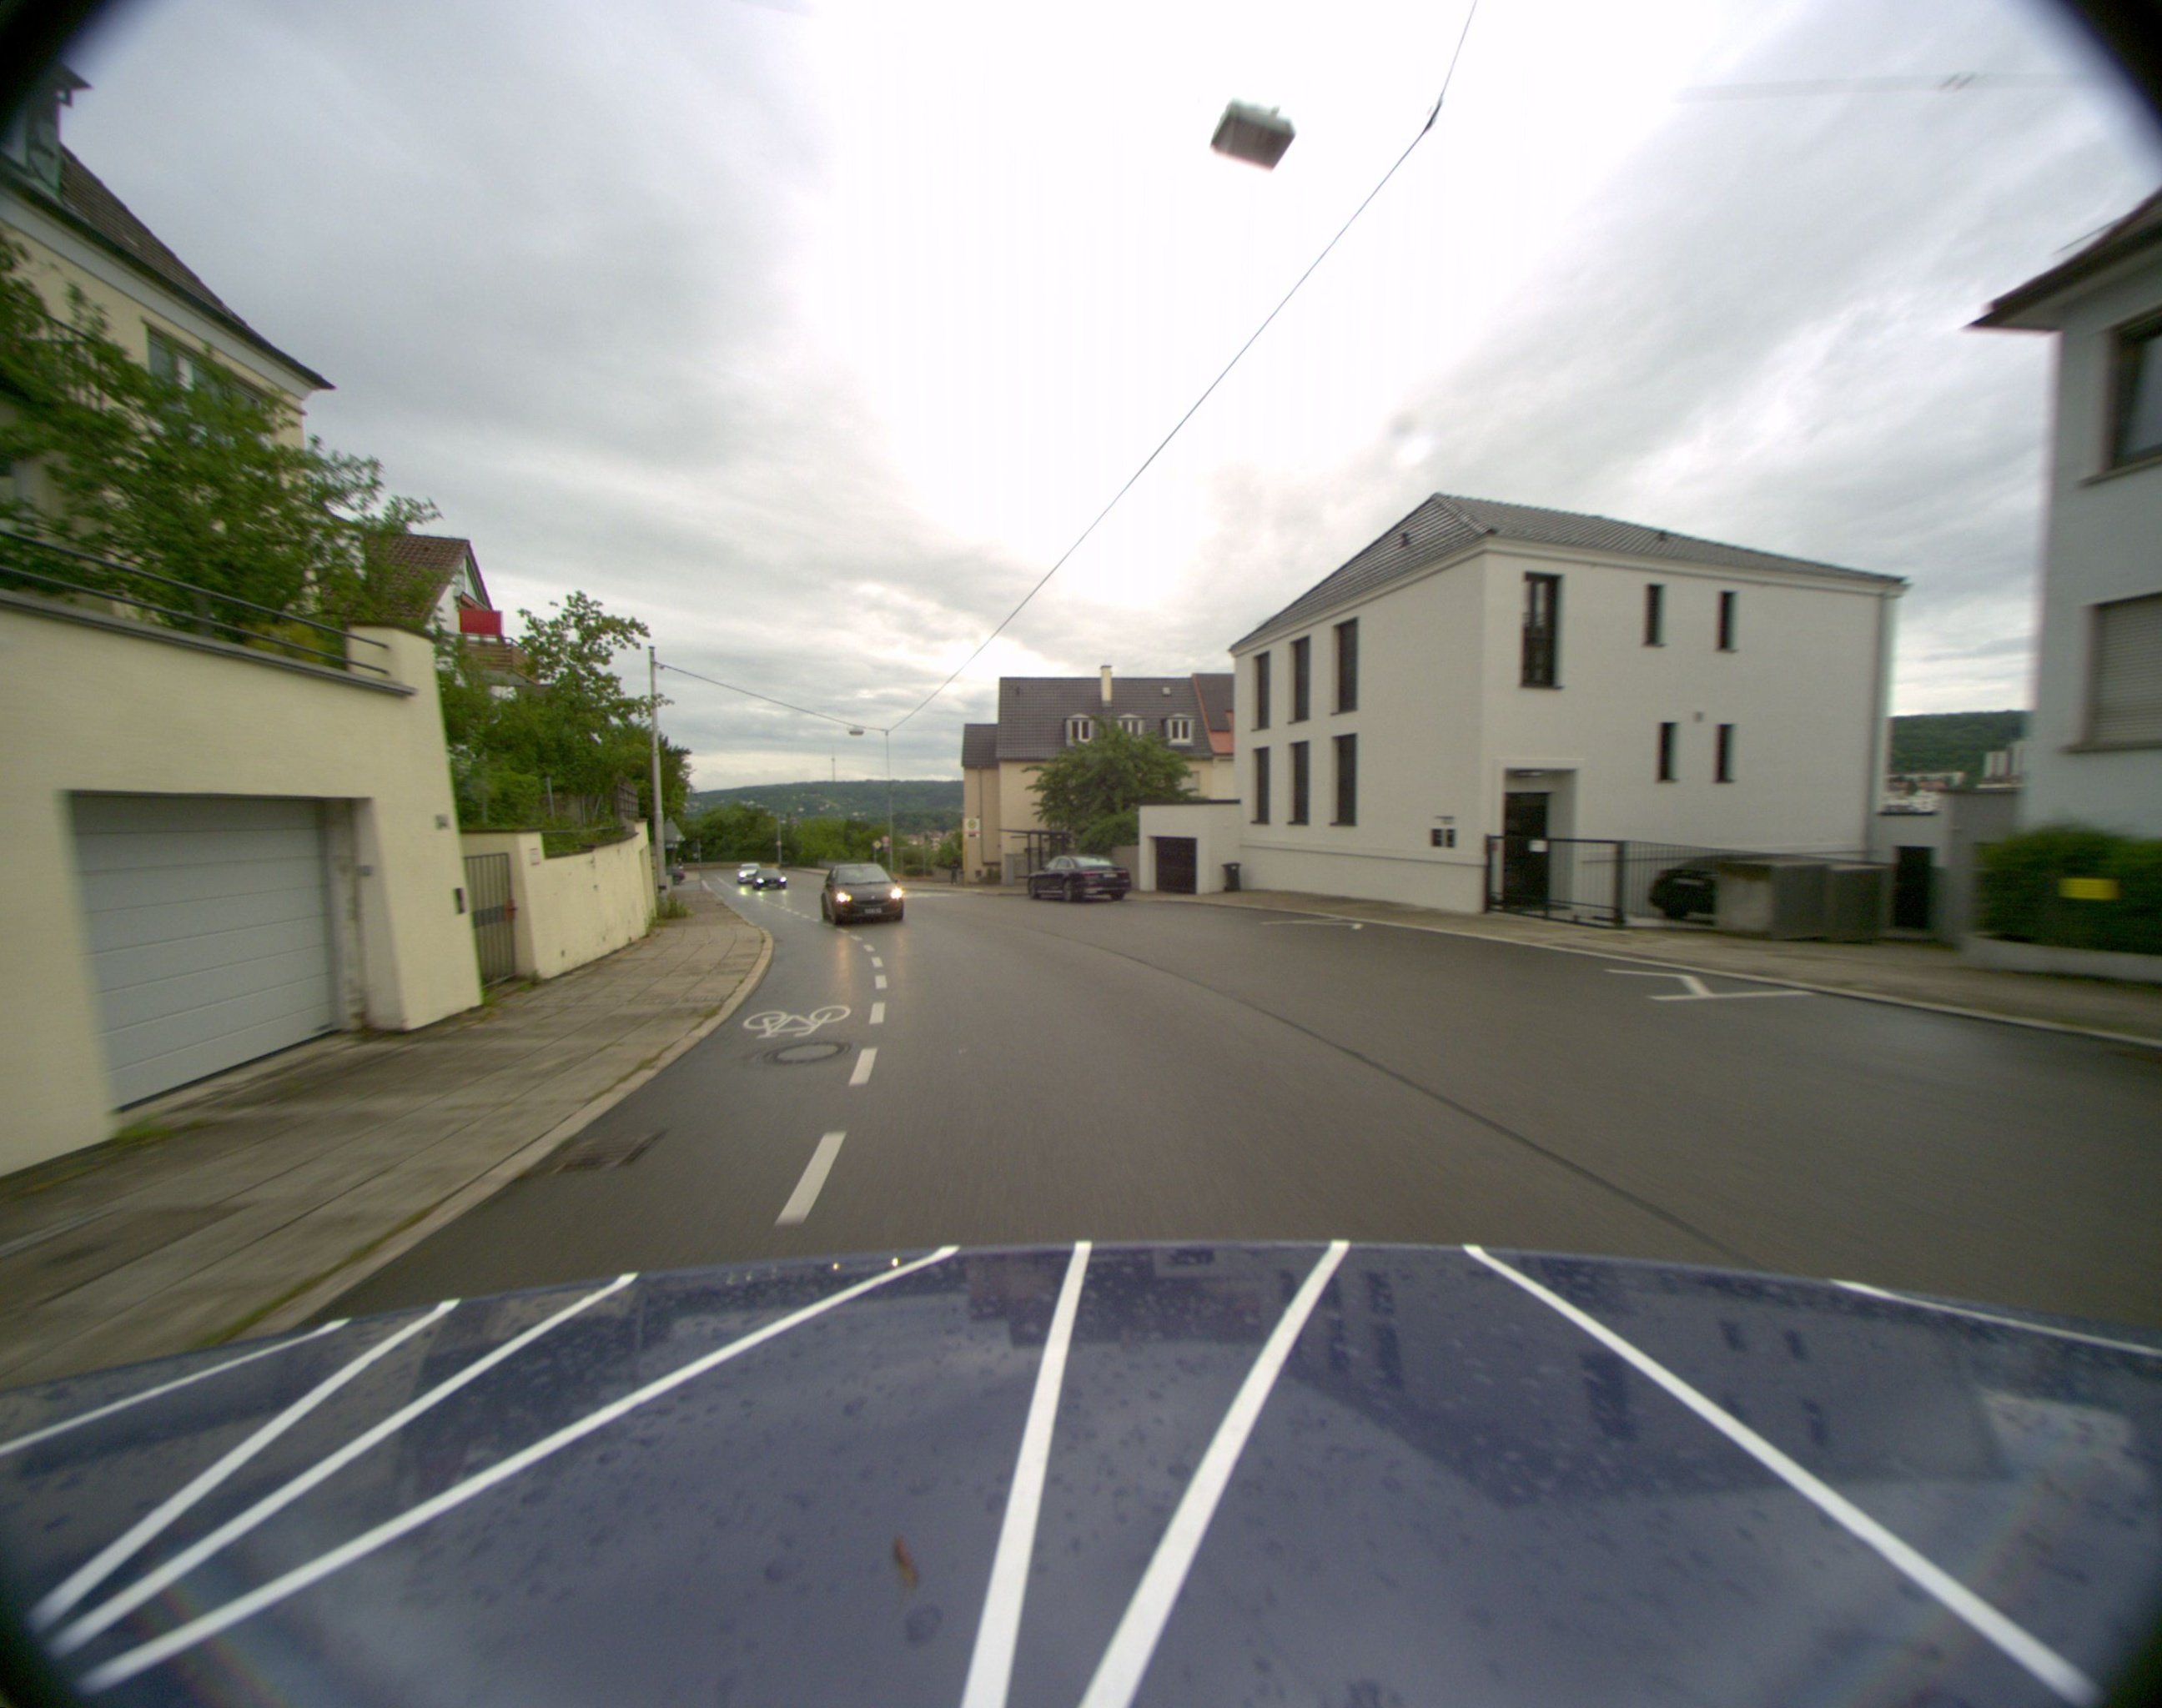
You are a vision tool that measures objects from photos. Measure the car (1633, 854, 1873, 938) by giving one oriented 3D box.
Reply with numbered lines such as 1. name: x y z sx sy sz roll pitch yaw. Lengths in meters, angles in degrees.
1. car: 13.598 0.845 15.417 4.004 1.345 1.739 4 2 -17

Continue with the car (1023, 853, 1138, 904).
1. car: -0.159 0.732 25.247 1.837 1.477 4.980 -2 1 -26

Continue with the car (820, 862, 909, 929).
1. car: -5.697 0.984 19.714 1.683 1.405 3.630 -4 2 -23

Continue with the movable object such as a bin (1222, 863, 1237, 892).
1. movable object such as a bin: 4.824 0.754 24.663 0.371 0.907 0.283 0 1 -18

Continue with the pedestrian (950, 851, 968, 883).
1. pedestrian: -7.268 0.764 45.356 0.790 1.847 0.726 -4 2 -27

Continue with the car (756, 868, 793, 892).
1. car: -20.661 1.721 51.161 1.770 1.445 4.390 -2 0 -29

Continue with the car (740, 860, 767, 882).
1. car: -27.555 1.377 63.847 1.892 1.566 4.583 -3 2 -24
